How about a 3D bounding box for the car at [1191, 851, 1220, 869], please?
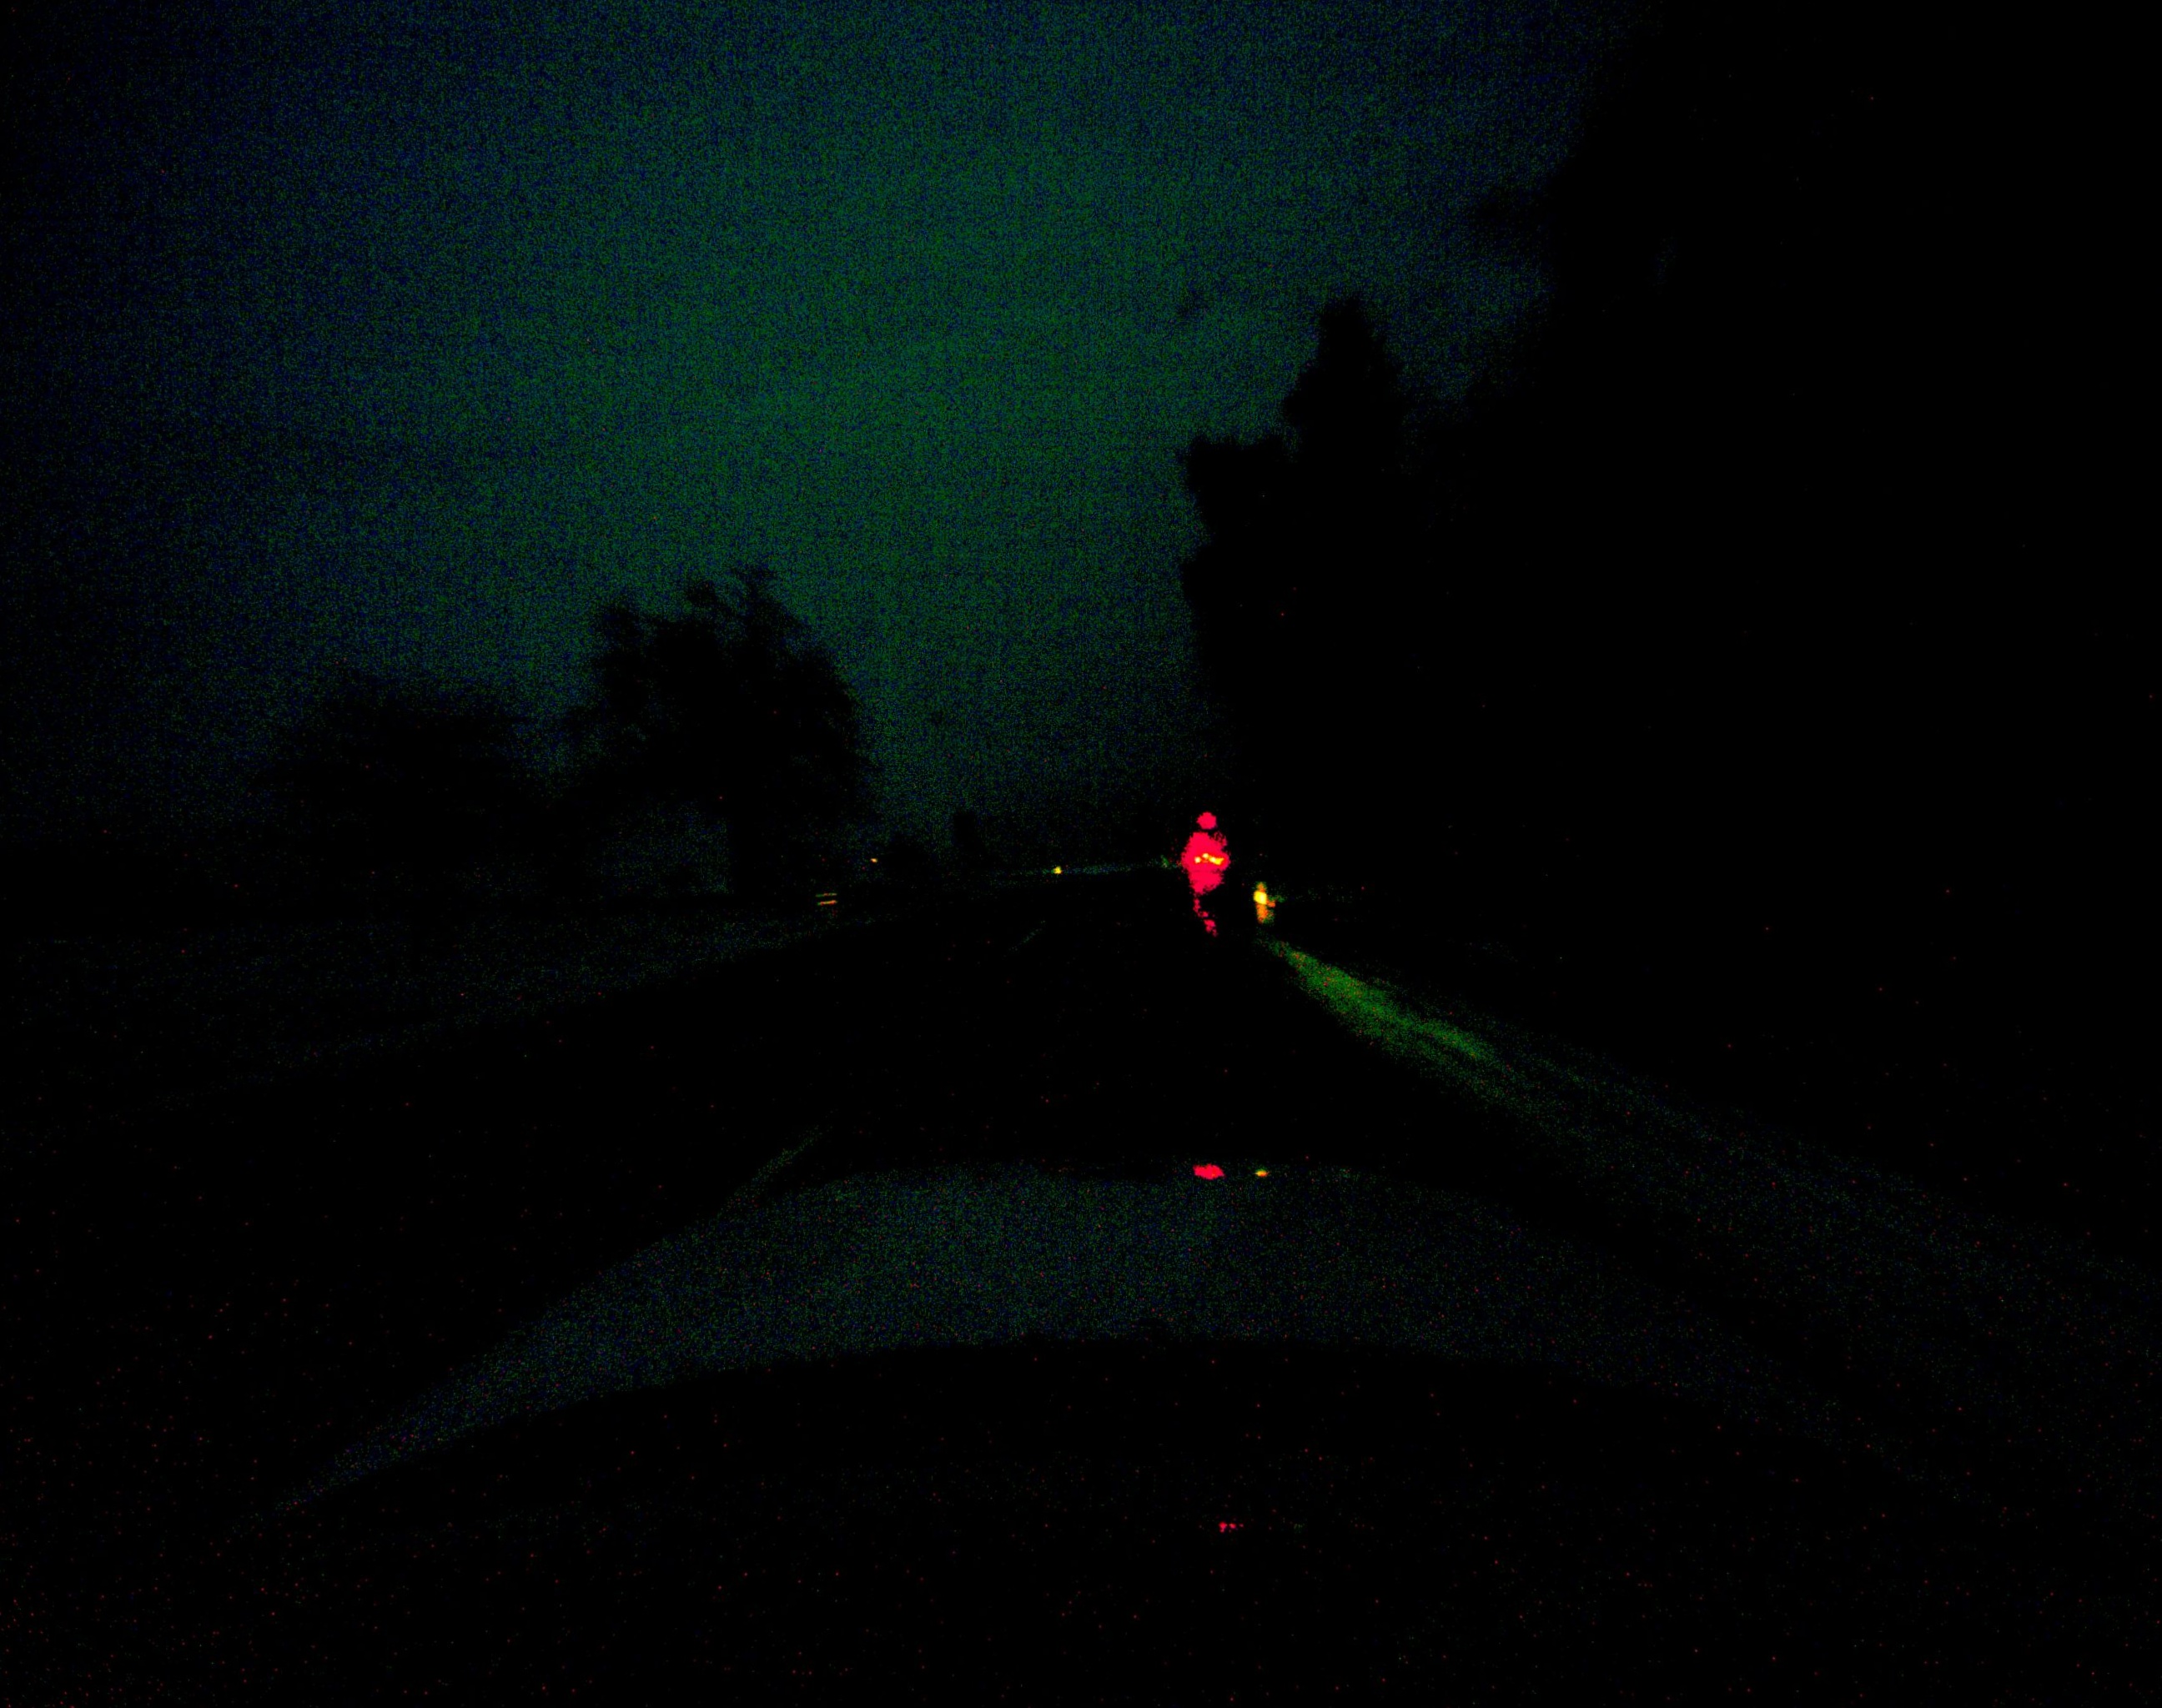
[{"bbox_3d":[10.253,0.485,67.068,1.908,1.276,4.016,-2,1,14],"label":"car"}]
